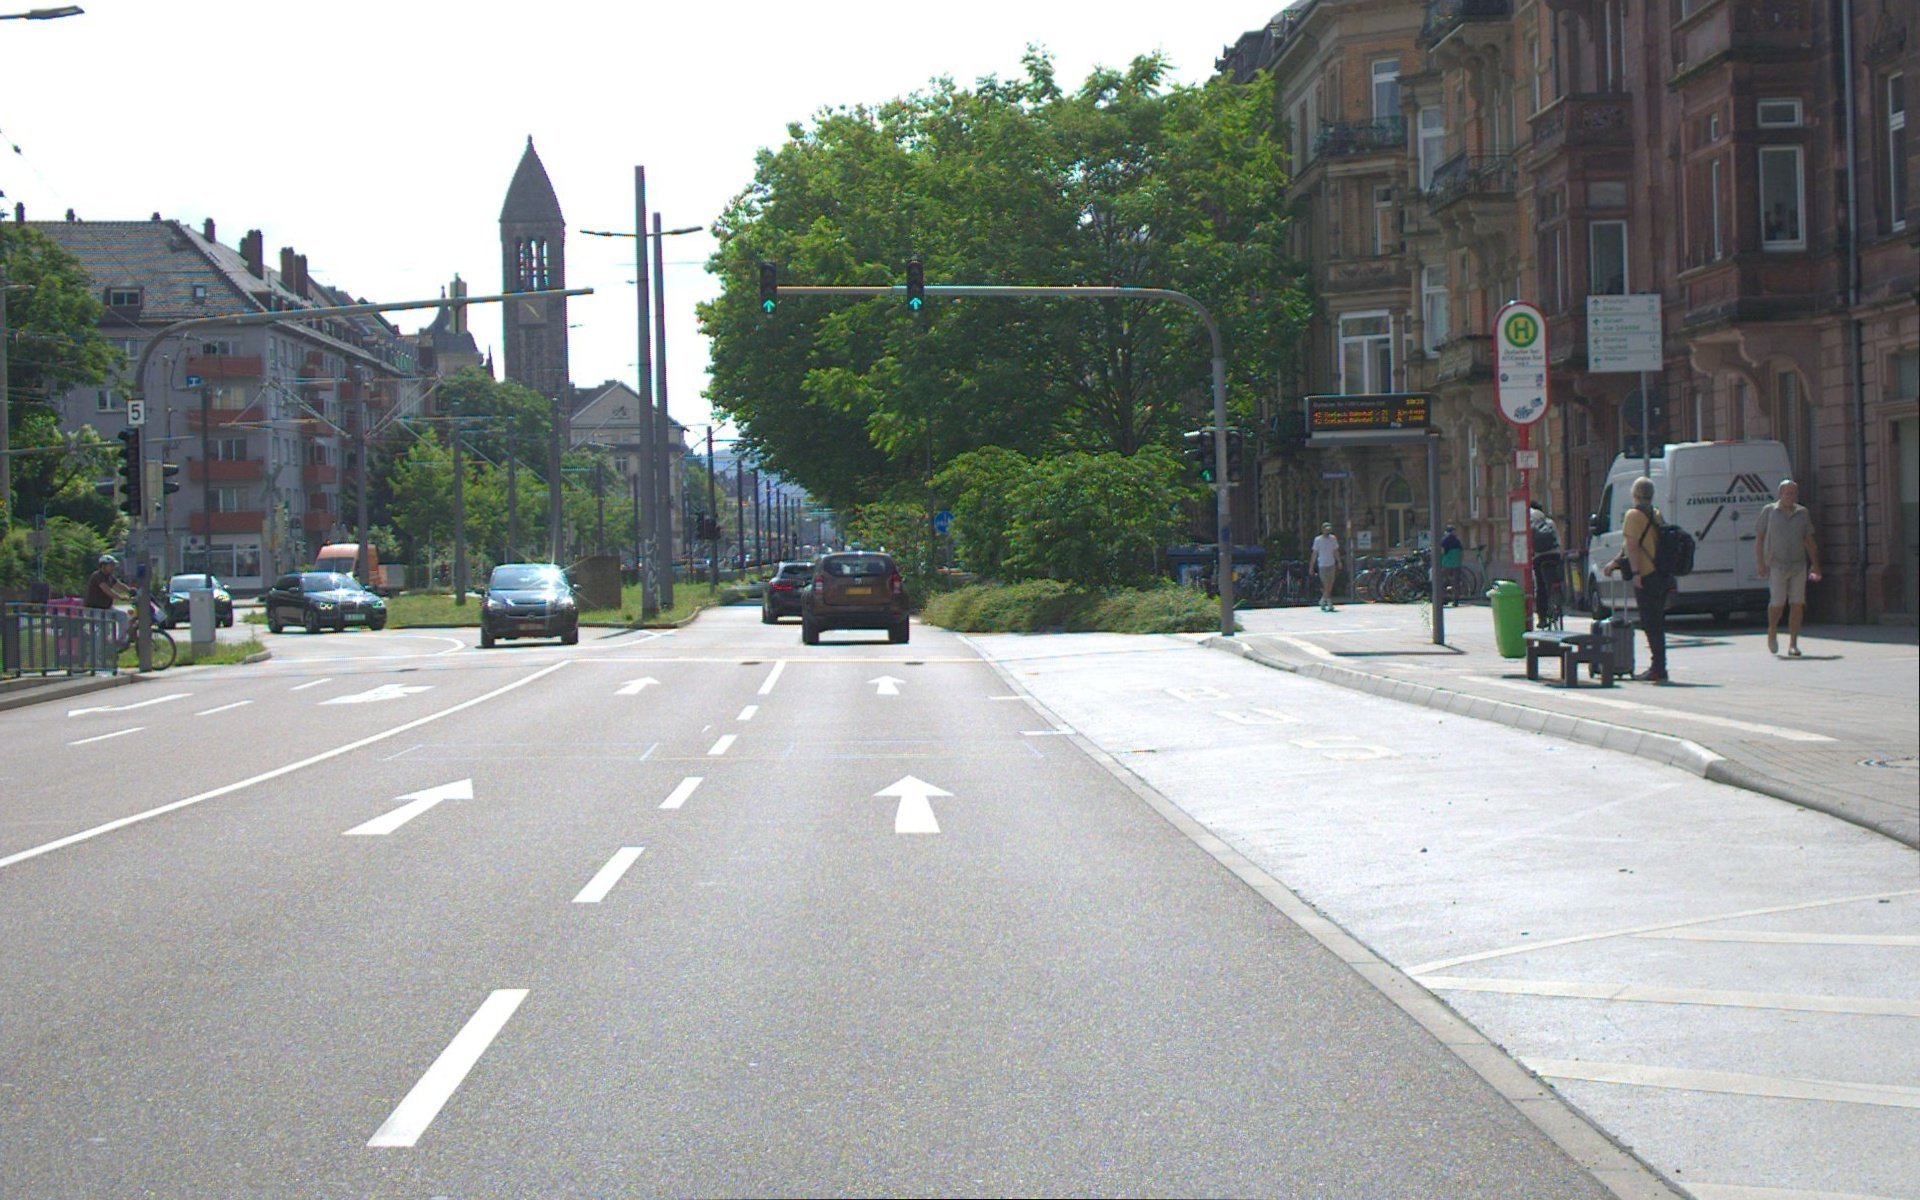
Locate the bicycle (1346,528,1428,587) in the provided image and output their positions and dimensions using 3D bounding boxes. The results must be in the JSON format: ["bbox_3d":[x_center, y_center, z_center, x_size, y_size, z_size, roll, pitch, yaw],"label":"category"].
[{"bbox_3d":[9.545,-0.960,76.902,1.769,1.263,0.466,-1,3,2],"label":"bicycle"}]

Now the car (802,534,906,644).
[{"bbox_3d":[-1.884,-0.219,60.353,1.688,1.705,3.610,-1,3,-3],"label":"car"}]

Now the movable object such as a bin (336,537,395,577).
[{"bbox_3d":[-27.792,-2.020,160.840,2.206,1.687,3.718,-1,3,-2],"label":"movable object such as a bin"}]

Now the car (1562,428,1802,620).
[{"bbox_3d":[10.148,-1.073,48.803,1.993,2.517,5.889,-1,1,-1],"label":"car"}]

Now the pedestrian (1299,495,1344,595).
[{"bbox_3d":[7.349,-1.123,69.894,0.768,2.007,0.715,-2,1,-1],"label":"pedestrian"}]

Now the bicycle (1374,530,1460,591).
[{"bbox_3d":[9.801,-0.853,73.690,1.769,1.263,0.466,-1,3,2],"label":"bicycle"}]

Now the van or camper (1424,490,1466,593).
[{"bbox_3d":[9.549,-1.147,67.735,0.666,2.007,0.638,-2,1,-1],"label":"van or camper"}]

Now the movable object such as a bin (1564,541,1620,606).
[{"bbox_3d":[11.015,-0.463,59.930,0.785,1.104,0.777,-2,1,-3],"label":"movable object such as a bin"}]

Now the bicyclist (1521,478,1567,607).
[{"bbox_3d":[7.864,-0.773,46.294,0.427,1.713,0.828,-1,0,-1],"label":"bicyclist"}]

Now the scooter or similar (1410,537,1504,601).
[{"bbox_3d":[10.076,-0.627,69.763,1.769,1.181,0.466,-3,0,-1],"label":"scooter or similar"}]

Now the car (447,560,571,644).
[{"bbox_3d":[-8.091,0.011,61.912,1.915,1.412,3.742,-2,1,-4],"label":"car"}]

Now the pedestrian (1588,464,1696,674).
[{"bbox_3d":[6.296,-0.284,31.734,0.662,1.896,0.695,-2,1,-20],"label":"pedestrian"}]

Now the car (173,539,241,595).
[{"bbox_3d":[-21.517,-0.944,98.195,1.798,1.546,4.297,-1,1,-13],"label":"car"}]

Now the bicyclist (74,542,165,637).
[{"bbox_3d":[-12.930,-0.166,52.903,1.089,1.431,0.824,-1,1,9],"label":"bicyclist"}]

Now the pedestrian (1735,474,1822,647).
[{"bbox_3d":[8.846,-0.432,37.165,0.662,1.830,0.695,-2,1,-8],"label":"pedestrian"}]

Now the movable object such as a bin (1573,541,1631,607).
[{"bbox_3d":[11.052,-0.447,59.175,0.785,1.104,0.777,-2,1,-3],"label":"movable object such as a bin"}]

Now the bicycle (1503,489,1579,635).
[{"bbox_3d":[7.813,-0.514,46.308,0.683,1.919,1.590,-2,1,-1],"label":"bicycle"}]

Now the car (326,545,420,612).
[{"bbox_3d":[-14.493,-0.546,85.095,1.817,1.546,4.561,-2,1,-4],"label":"car"}]

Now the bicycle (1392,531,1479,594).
[{"bbox_3d":[10.015,-0.797,72.435,1.769,1.263,0.466,-1,3,2],"label":"bicycle"}]

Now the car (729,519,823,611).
[{"bbox_3d":[-4.270,-0.809,79.252,1.993,2.007,4.001,-2,1,-4],"label":"car"}]

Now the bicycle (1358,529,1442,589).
[{"bbox_3d":[9.633,-0.897,75.261,1.769,1.263,0.466,-1,3,2],"label":"bicycle"}]

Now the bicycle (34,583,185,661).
[{"bbox_3d":[-13.072,0.332,52.887,2.019,1.122,0.931,-1,1,9],"label":"bicycle"}]

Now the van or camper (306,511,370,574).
[{"bbox_3d":[-27.962,-2.577,154.702,2.255,2.728,6.204,-2,1,-5],"label":"van or camper"}]

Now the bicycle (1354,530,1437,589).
[{"bbox_3d":[9.614,-0.897,75.886,1.769,1.263,0.466,-1,3,2],"label":"bicycle"}]

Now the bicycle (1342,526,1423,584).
[{"bbox_3d":[9.536,-1.024,77.619,1.769,1.263,0.466,-1,3,2],"label":"bicycle"}]

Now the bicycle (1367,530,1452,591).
[{"bbox_3d":[9.732,-0.858,74.461,1.769,1.263,0.466,-1,3,2],"label":"bicycle"}]

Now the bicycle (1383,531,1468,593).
[{"bbox_3d":[9.886,-0.806,73.015,1.746,1.263,0.466,-1,3,2],"label":"bicycle"}]
